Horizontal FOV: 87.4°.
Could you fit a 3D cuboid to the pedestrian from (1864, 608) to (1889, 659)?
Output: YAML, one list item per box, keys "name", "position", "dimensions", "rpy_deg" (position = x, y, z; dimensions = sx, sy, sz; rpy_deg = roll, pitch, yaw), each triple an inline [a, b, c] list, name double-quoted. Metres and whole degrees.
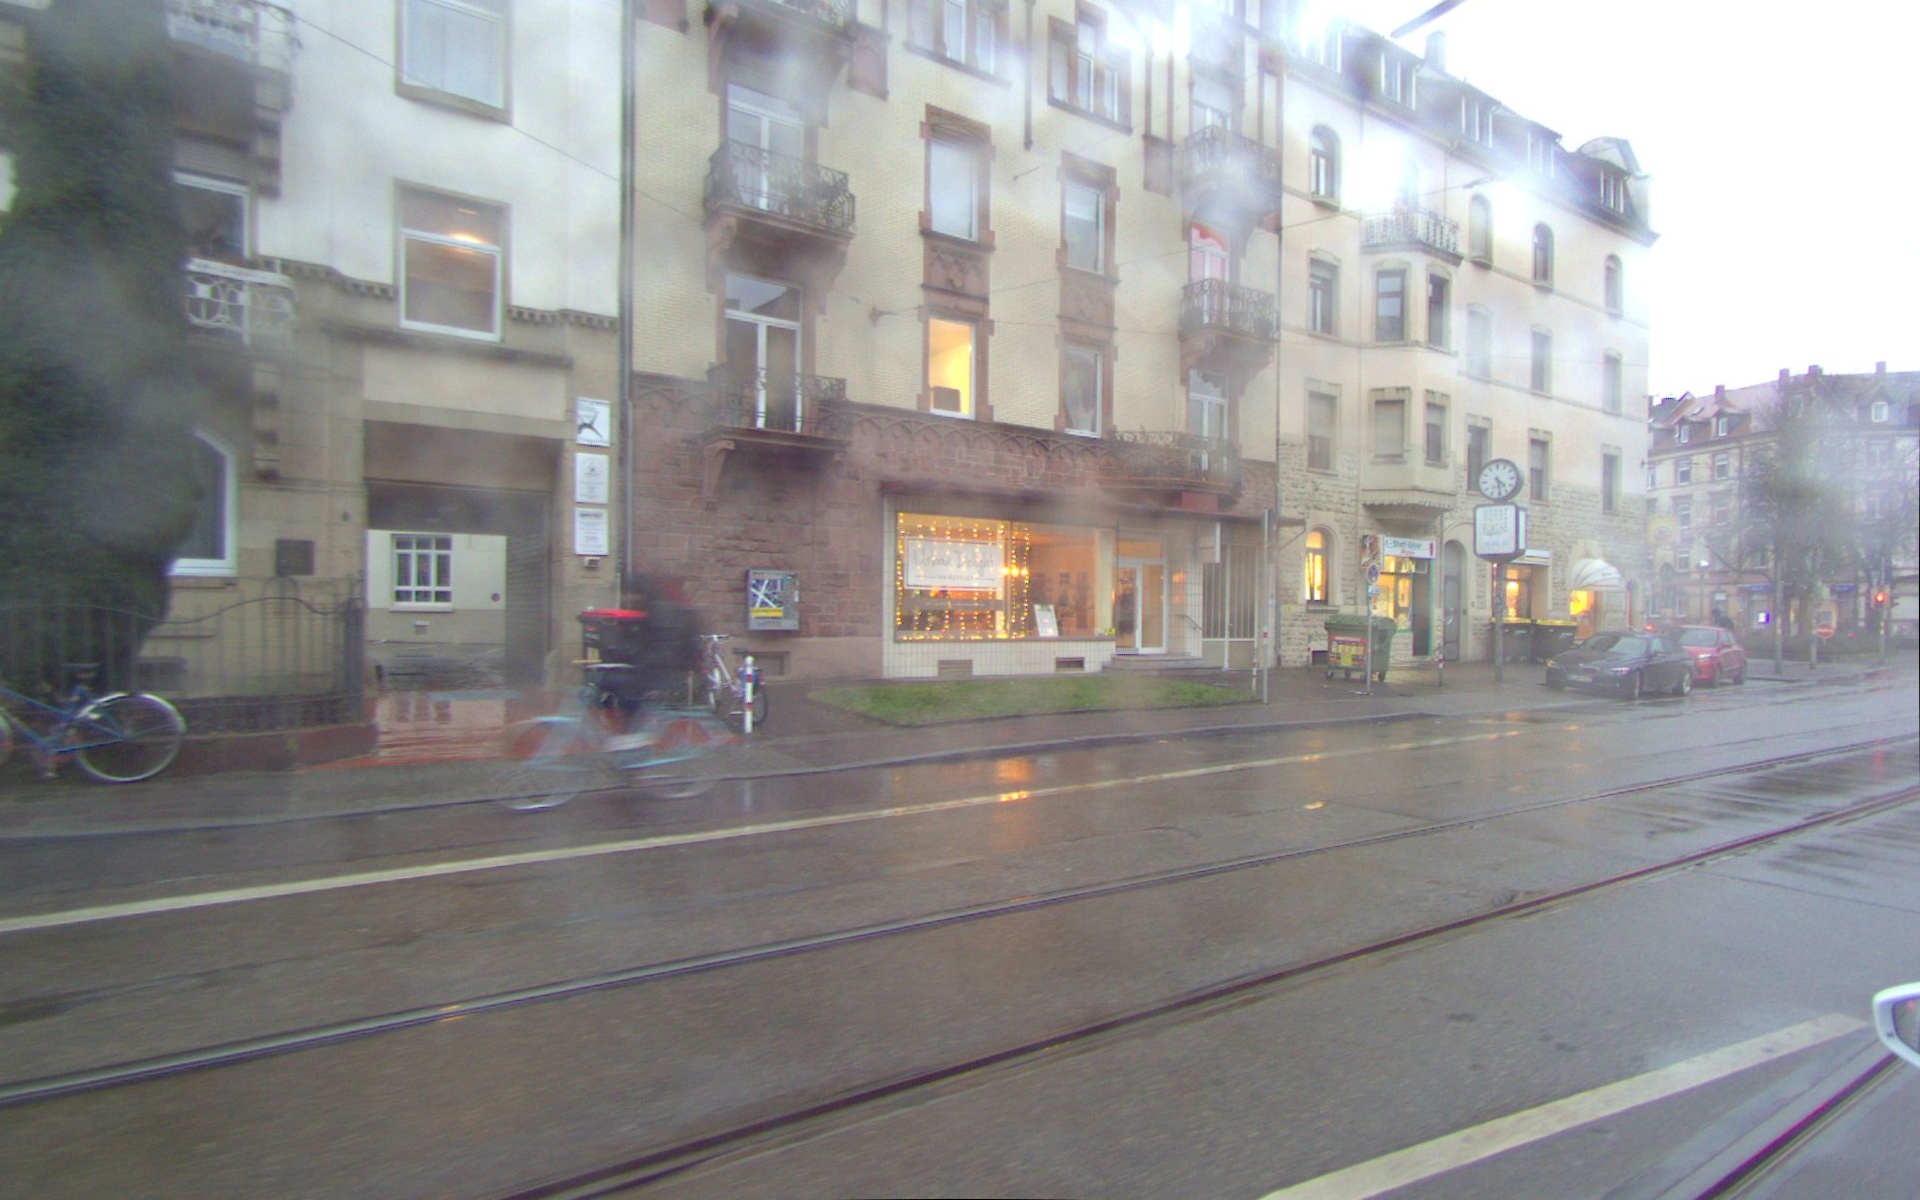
- name: "pedestrian"
  position: [37.293, 1.362, 40.882]
  dimensions: [0.695, 2.040, 0.658]
  rpy_deg: [0, 0, 38]

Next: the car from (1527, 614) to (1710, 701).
- name: "car"
  position: [15.438, 1.300, 23.494]
  dimensions: [4.586, 1.667, 1.972]
  rpy_deg: [2, 4, -36]

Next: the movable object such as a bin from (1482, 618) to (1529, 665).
- name: "movable object such as a bin"
  position: [16.567, 1.239, 30.519]
  dimensions: [0.996, 1.396, 0.894]
  rpy_deg: [1, 0, -33]

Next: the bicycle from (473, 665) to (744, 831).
- name: "bicycle"
  position: [-2.727, 1.099, 7.892]
  dimensions: [1.925, 1.107, 0.620]
  rpy_deg: [1, -1, -31]

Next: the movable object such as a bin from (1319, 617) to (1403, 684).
- name: "movable object such as a bin"
  position: [8.981, 1.107, 22.526]
  dimensions: [1.236, 1.439, 1.260]
  rpy_deg: [1, 0, -32]

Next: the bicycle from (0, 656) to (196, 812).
- name: "bicycle"
  position: [-7.026, 1.015, 7.812]
  dimensions: [1.643, 1.107, 0.620]
  rpy_deg: [1, -1, -31]

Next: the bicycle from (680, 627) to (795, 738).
- name: "bicycle"
  position: [-2.829, 0.971, 12.569]
  dimensions: [0.687, 1.120, 2.336]
  rpy_deg: [1, 2, -31]

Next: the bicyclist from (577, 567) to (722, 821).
- name: "bicyclist"
  position: [-2.487, 0.711, 8.039]
  dimensions: [0.980, 1.901, 0.620]
  rpy_deg: [1, 0, -31]

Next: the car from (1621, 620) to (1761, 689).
- name: "car"
  position: [19.909, 1.418, 27.317]
  dimensions: [3.996, 1.573, 2.021]
  rpy_deg: [0, 3, -38]

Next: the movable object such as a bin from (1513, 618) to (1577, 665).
- name: "movable object such as a bin"
  position: [17.900, 1.249, 30.740]
  dimensions: [1.239, 1.385, 1.286]
  rpy_deg: [1, 0, -33]

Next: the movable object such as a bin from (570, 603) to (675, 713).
- name: "movable object such as a bin"
  position: [-4.705, 0.772, 13.989]
  dimensions: [1.154, 1.398, 1.096]
  rpy_deg: [1, 2, -32]

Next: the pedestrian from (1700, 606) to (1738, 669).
- name: "pedestrian"
  position: [24.835, 1.215, 32.860]
  dimensions: [0.635, 2.040, 0.758]
  rpy_deg: [1, 0, 3]
